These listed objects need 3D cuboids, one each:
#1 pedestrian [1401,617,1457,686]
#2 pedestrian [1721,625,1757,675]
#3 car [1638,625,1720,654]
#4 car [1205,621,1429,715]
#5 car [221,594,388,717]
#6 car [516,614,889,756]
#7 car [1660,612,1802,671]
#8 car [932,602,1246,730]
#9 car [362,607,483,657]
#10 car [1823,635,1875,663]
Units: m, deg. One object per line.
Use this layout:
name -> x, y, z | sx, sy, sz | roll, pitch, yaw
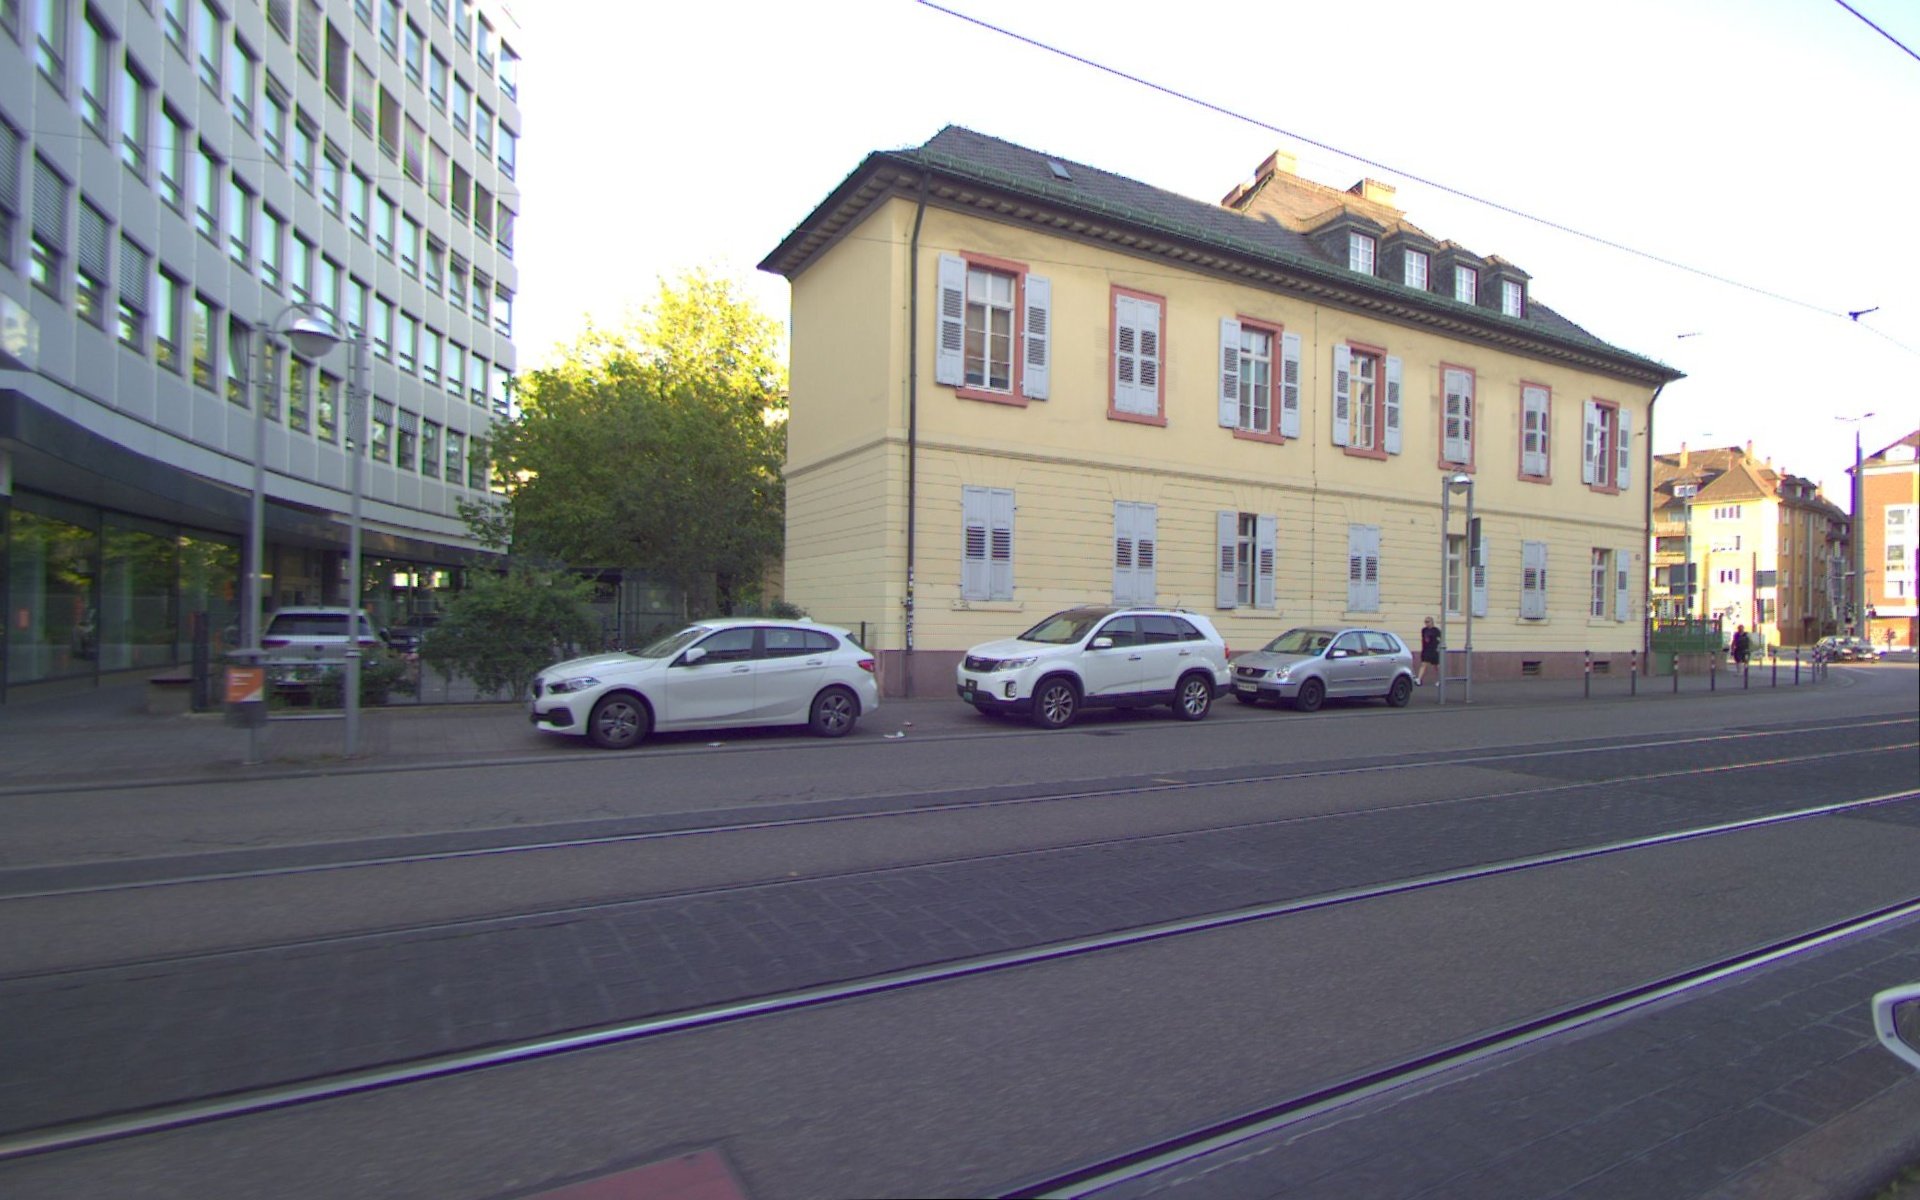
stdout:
pedestrian -> 11.065, 1.206, 23.710 | 0.866, 1.562, 0.796 | 2, 0, -28
pedestrian -> 24.433, 1.557, 31.515 | 0.712, 1.556, 0.715 | 2, -2, -34
car -> 52.749, 2.852, 73.700 | 1.987, 2.040, 4.637 | 2, -1, -44
car -> 6.596, 1.186, 18.486 | 3.953, 1.494, 1.739 | 1, 1, -30
car -> -10.046, 0.758, 15.591 | 1.893, 1.574, 3.966 | 2, 0, -31
car -> -3.183, 0.975, 12.638 | 4.234, 1.472, 1.712 | 2, 1, -31
car -> 28.405, 1.482, 37.067 | 3.946, 2.040, 1.988 | 0, -2, 45
car -> 2.080, 0.955, 15.605 | 4.708, 1.683, 1.876 | 2, 1, -32
car -> -17.398, 0.997, 32.743 | 1.708, 1.418, 4.000 | 2, 0, 1
car -> 47.931, 2.610, 54.210 | 1.744, 1.394, 4.207 | 1, -1, 37
